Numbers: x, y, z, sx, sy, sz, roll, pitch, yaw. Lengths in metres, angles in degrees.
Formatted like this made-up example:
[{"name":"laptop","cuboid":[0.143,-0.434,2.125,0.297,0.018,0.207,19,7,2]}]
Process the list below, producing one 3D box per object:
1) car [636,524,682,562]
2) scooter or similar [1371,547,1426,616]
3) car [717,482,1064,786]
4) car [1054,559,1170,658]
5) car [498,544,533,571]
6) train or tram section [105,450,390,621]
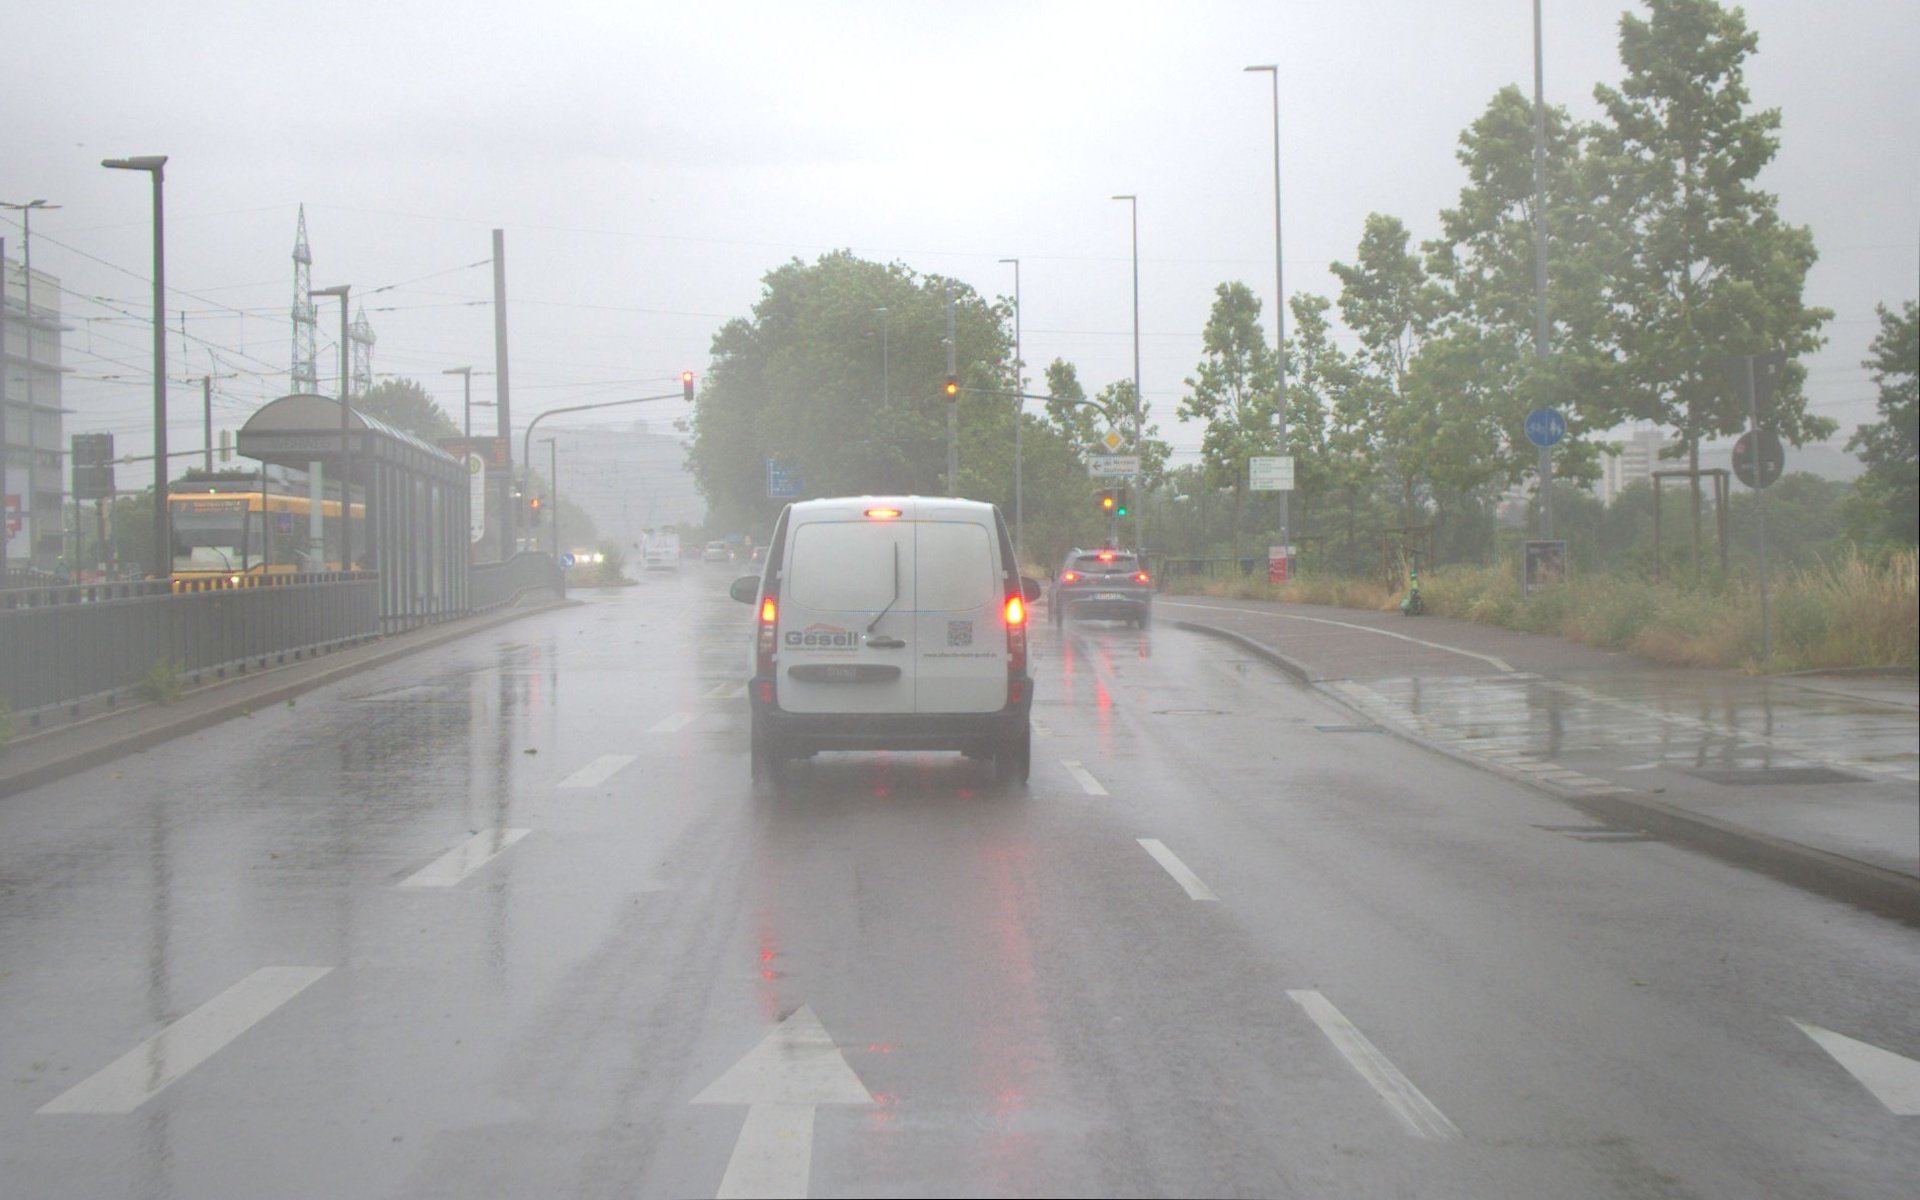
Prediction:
[{"name":"car","cuboid":[-14.218,-2.696,162.270,1.993,1.744,4.001,1,1,-8]},{"name":"scooter or similar","cuboid":[7.630,-0.327,59.830,0.642,1.191,1.563,-1,1,-4]},{"name":"car","cuboid":[-0.553,0.176,22.531,2.024,1.769,4.275,1,1,-4]},{"name":"car","cuboid":[2.784,0.129,63.762,1.993,1.744,4.000,1,1,1]},{"name":"car","cuboid":[-33.209,-3.173,256.730,1.993,2.007,4.000,1,1,1]},{"name":"train or tram section","cuboid":[-19.299,-1.726,95.832,3.770,4.023,27.097,1,1,-3]}]
